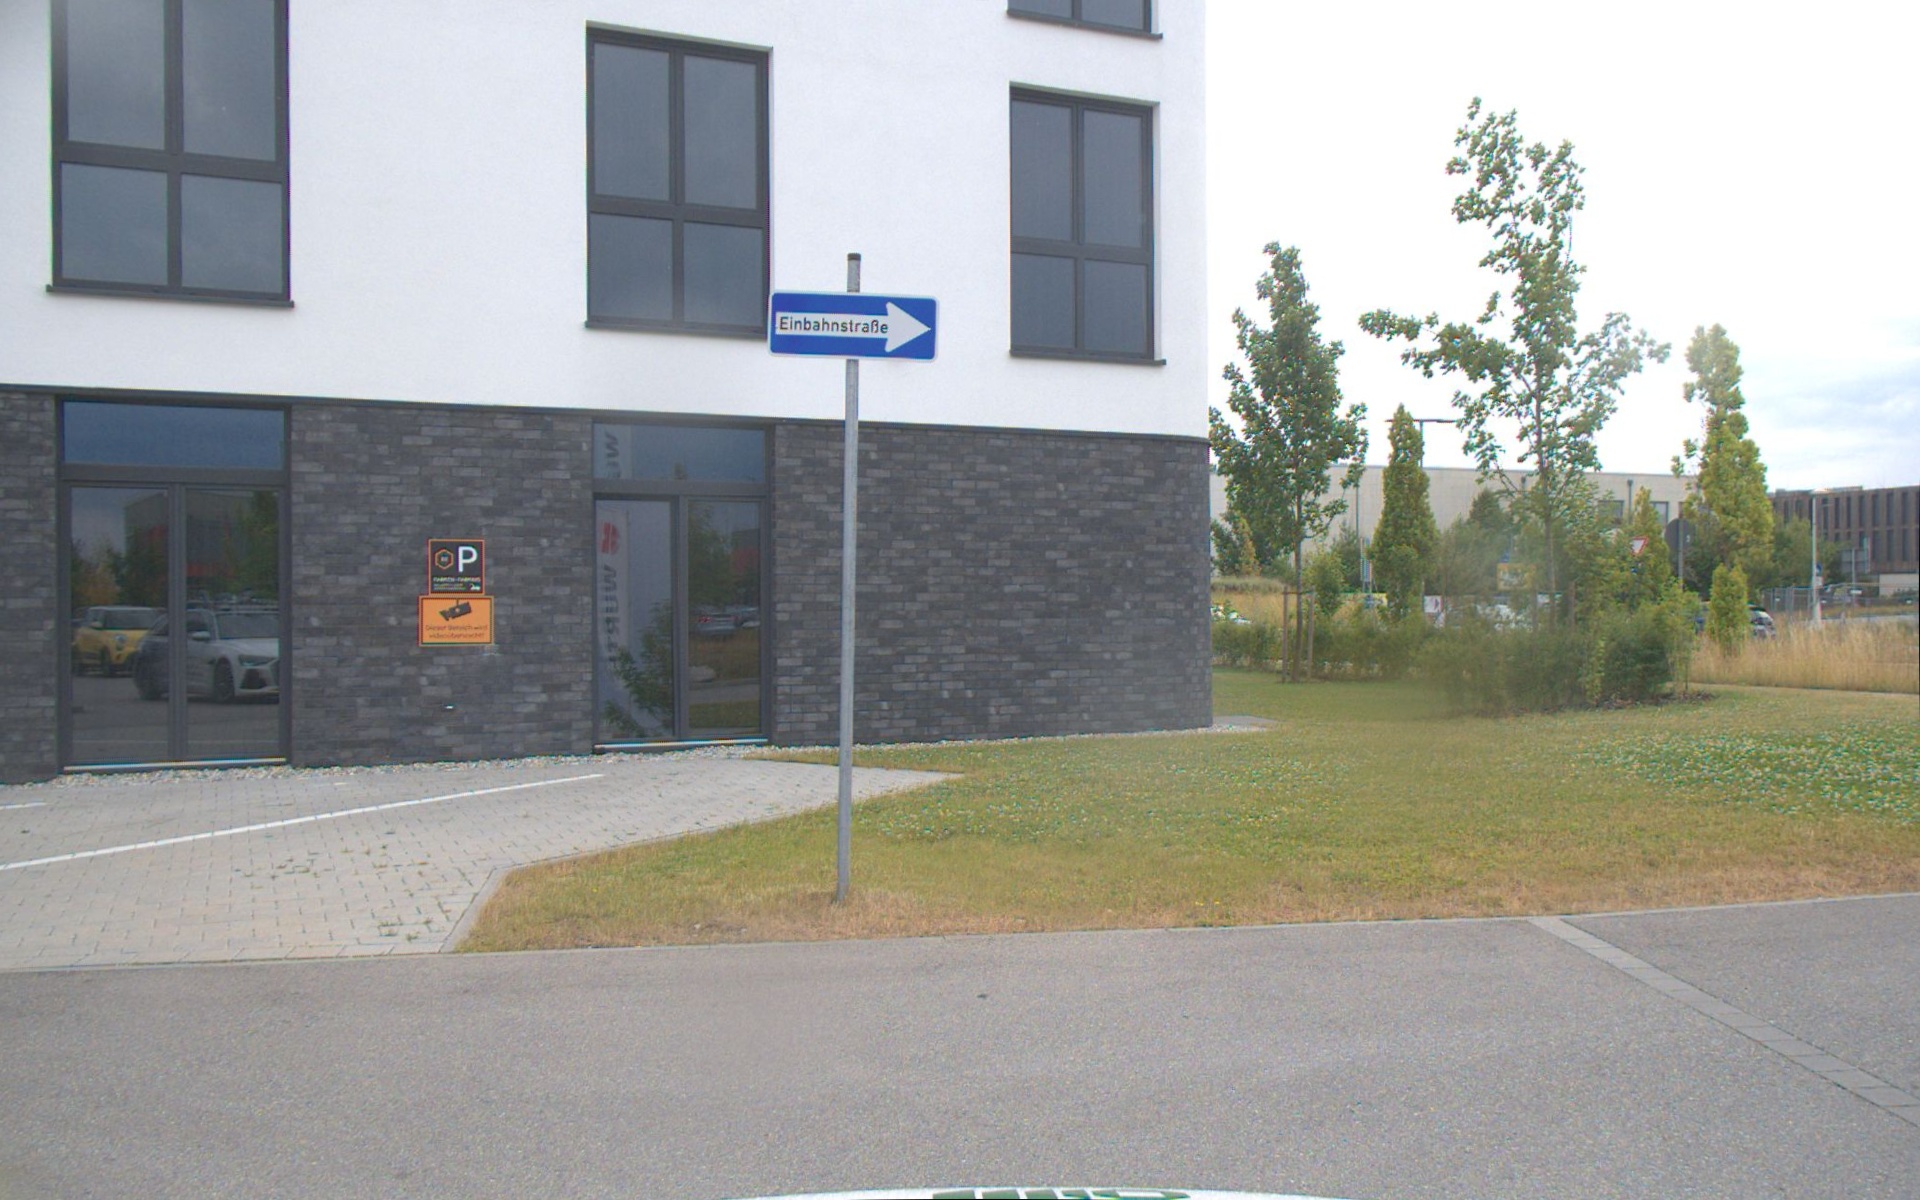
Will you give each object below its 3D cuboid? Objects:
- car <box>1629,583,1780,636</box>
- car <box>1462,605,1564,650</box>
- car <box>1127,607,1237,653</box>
[{"bbox_3d":[20.184,0.214,45.016,1.684,1.366,3.948,0,1,-15],"label":"car"},{"bbox_3d":[18.417,0.893,55.243,1.680,1.366,3.958,0,1,-7],"label":"car"},{"bbox_3d":[7.300,0.965,54.861,1.729,1.411,4.272,0,0,-22],"label":"car"}]
